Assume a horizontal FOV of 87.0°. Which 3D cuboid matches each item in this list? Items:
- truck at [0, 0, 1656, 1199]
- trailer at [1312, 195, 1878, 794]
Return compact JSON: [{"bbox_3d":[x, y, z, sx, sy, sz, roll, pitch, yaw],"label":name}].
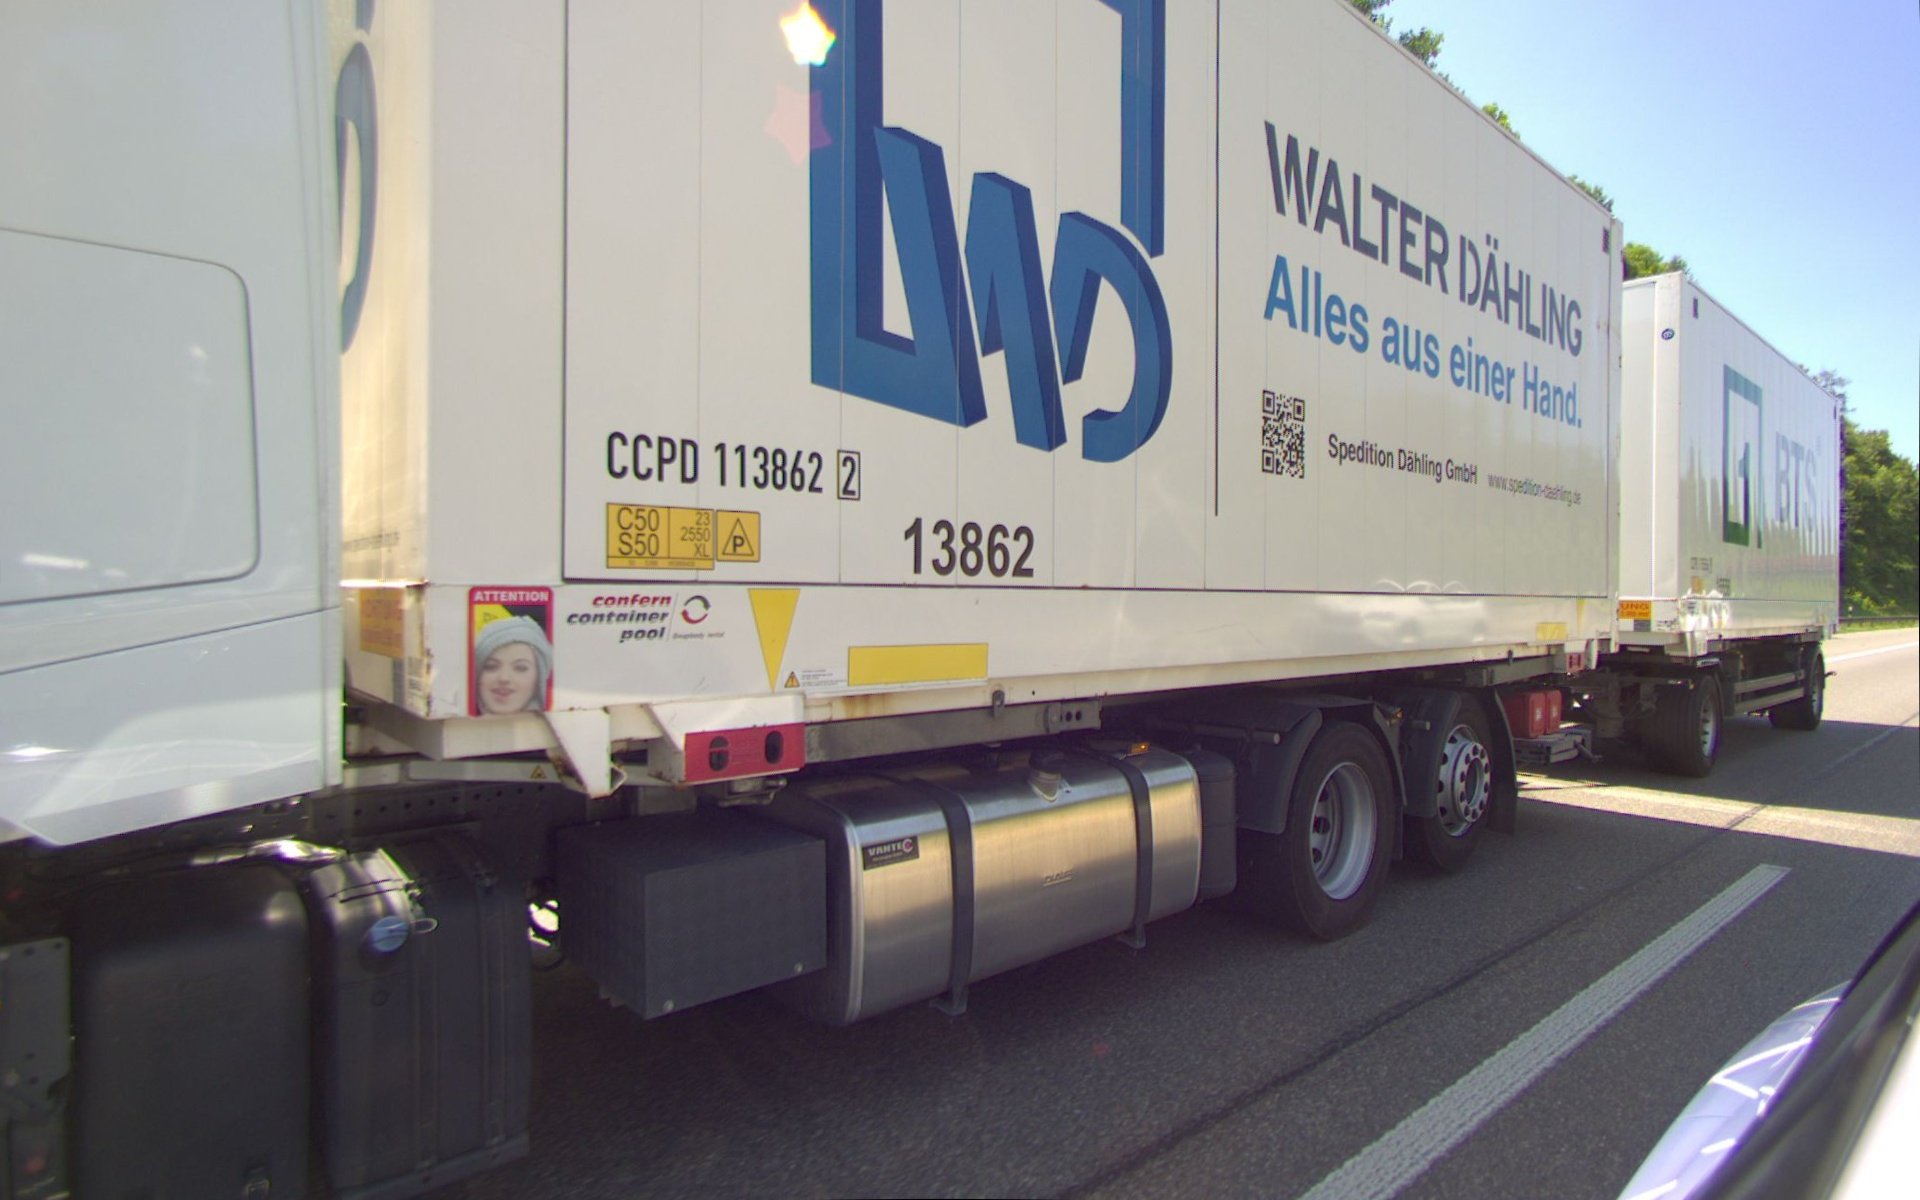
[{"bbox_3d":[0.039,-0.746,4.545,10.440,4.111,2.684,1,-1,-42],"label":"truck"},{"bbox_3d":[7.804,-0.677,11.425,9.888,4.229,2.684,1,-1,-41],"label":"trailer"}]
